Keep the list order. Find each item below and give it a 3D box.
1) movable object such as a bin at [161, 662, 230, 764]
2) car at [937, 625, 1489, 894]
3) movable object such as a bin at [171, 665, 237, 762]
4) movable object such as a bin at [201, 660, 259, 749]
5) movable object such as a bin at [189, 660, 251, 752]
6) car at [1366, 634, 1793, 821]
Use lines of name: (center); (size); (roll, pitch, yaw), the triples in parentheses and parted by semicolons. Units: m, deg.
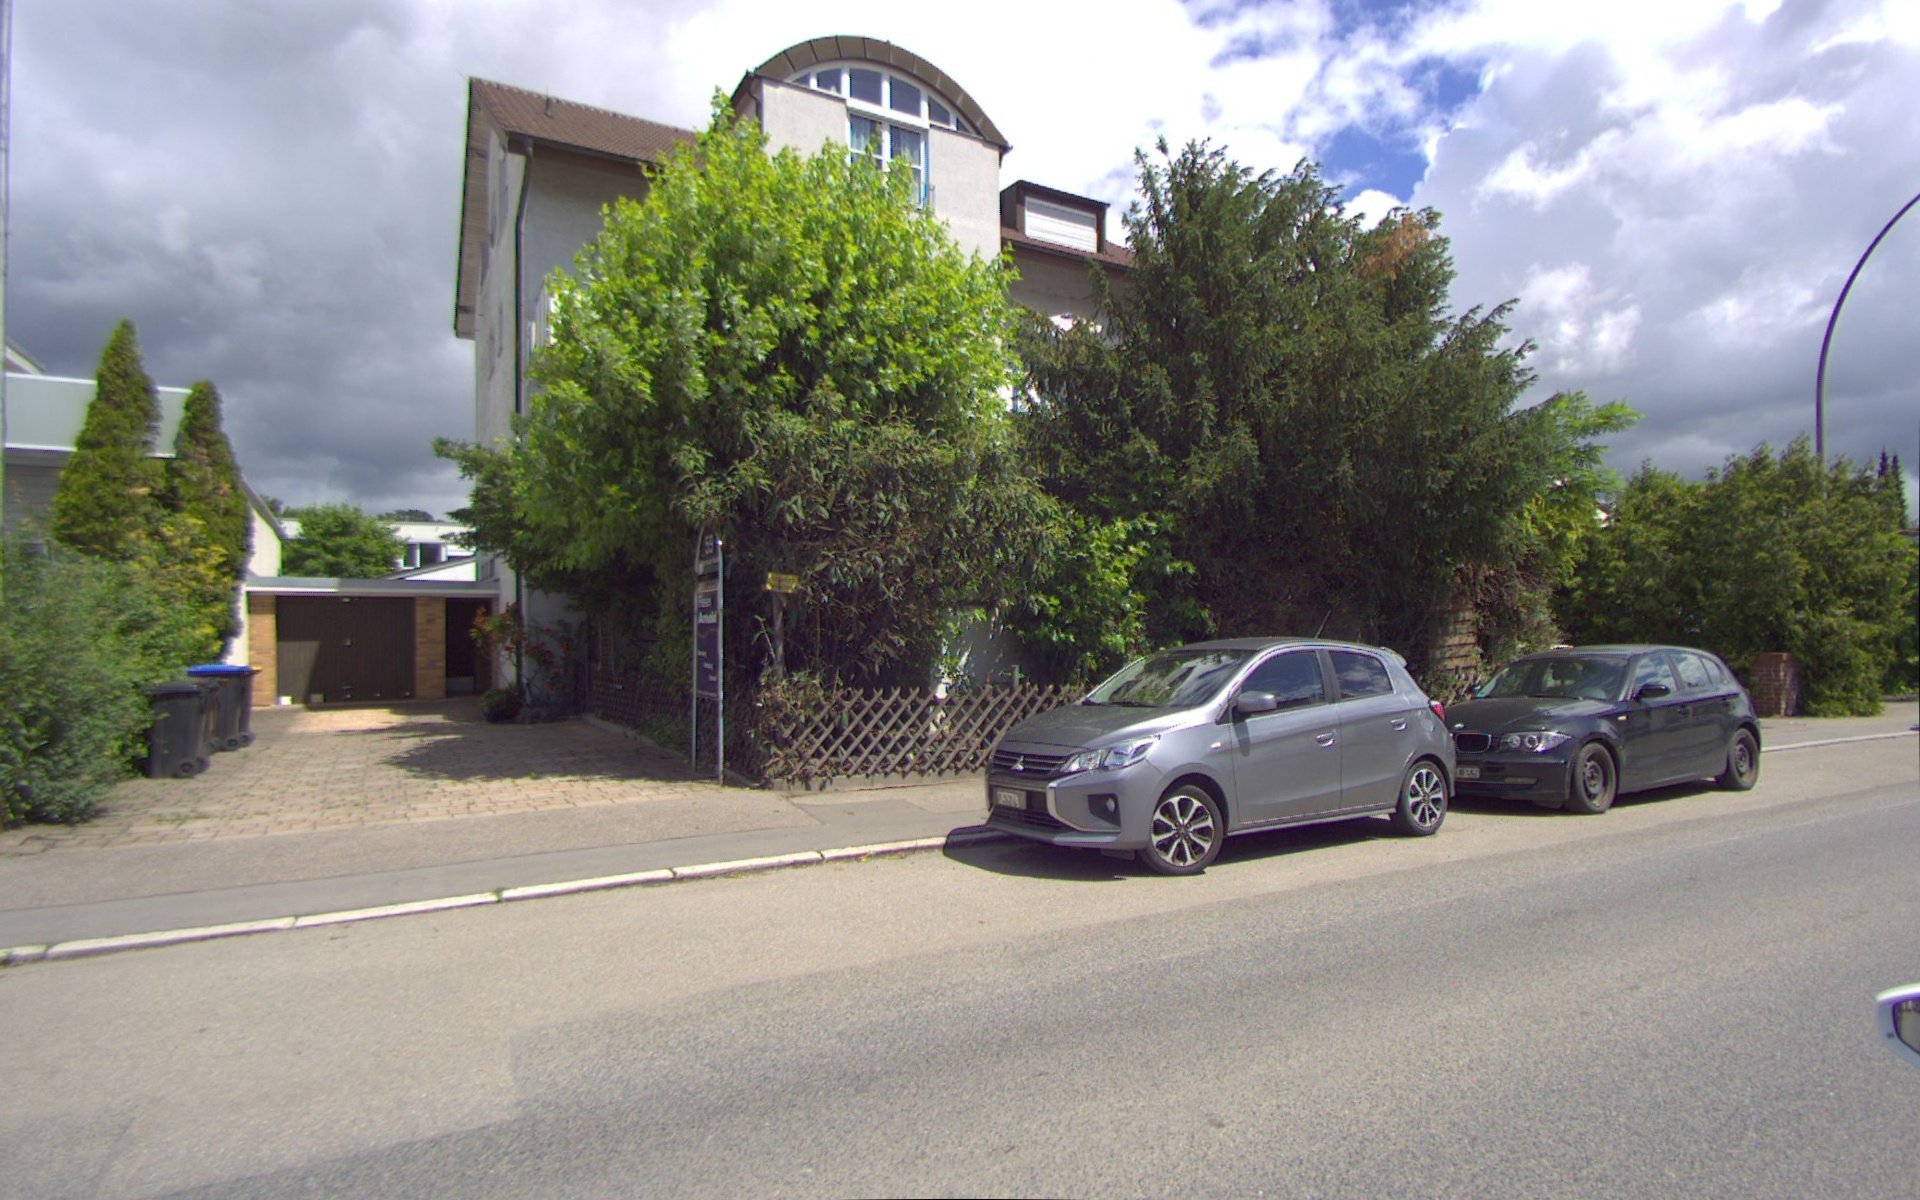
movable object such as a bin: (-8.858, 1.290, 11.649); (0.536, 1.096, 0.568); (1, 1, -28)
car: (1.936, 0.997, 7.459); (3.898, 1.530, 1.656); (1, -5, -30)
movable object such as a bin: (-9.146, 1.354, 12.170); (0.536, 1.096, 0.568); (1, 1, -28)
movable object such as a bin: (-9.646, 1.366, 13.288); (0.536, 1.096, 0.568); (1, 1, -28)
movable object such as a bin: (-9.383, 1.328, 12.748); (0.536, 1.096, 0.568); (1, 1, -28)
car: (6.075, 1.096, 9.742); (4.287, 1.454, 1.655); (1, -4, -30)
